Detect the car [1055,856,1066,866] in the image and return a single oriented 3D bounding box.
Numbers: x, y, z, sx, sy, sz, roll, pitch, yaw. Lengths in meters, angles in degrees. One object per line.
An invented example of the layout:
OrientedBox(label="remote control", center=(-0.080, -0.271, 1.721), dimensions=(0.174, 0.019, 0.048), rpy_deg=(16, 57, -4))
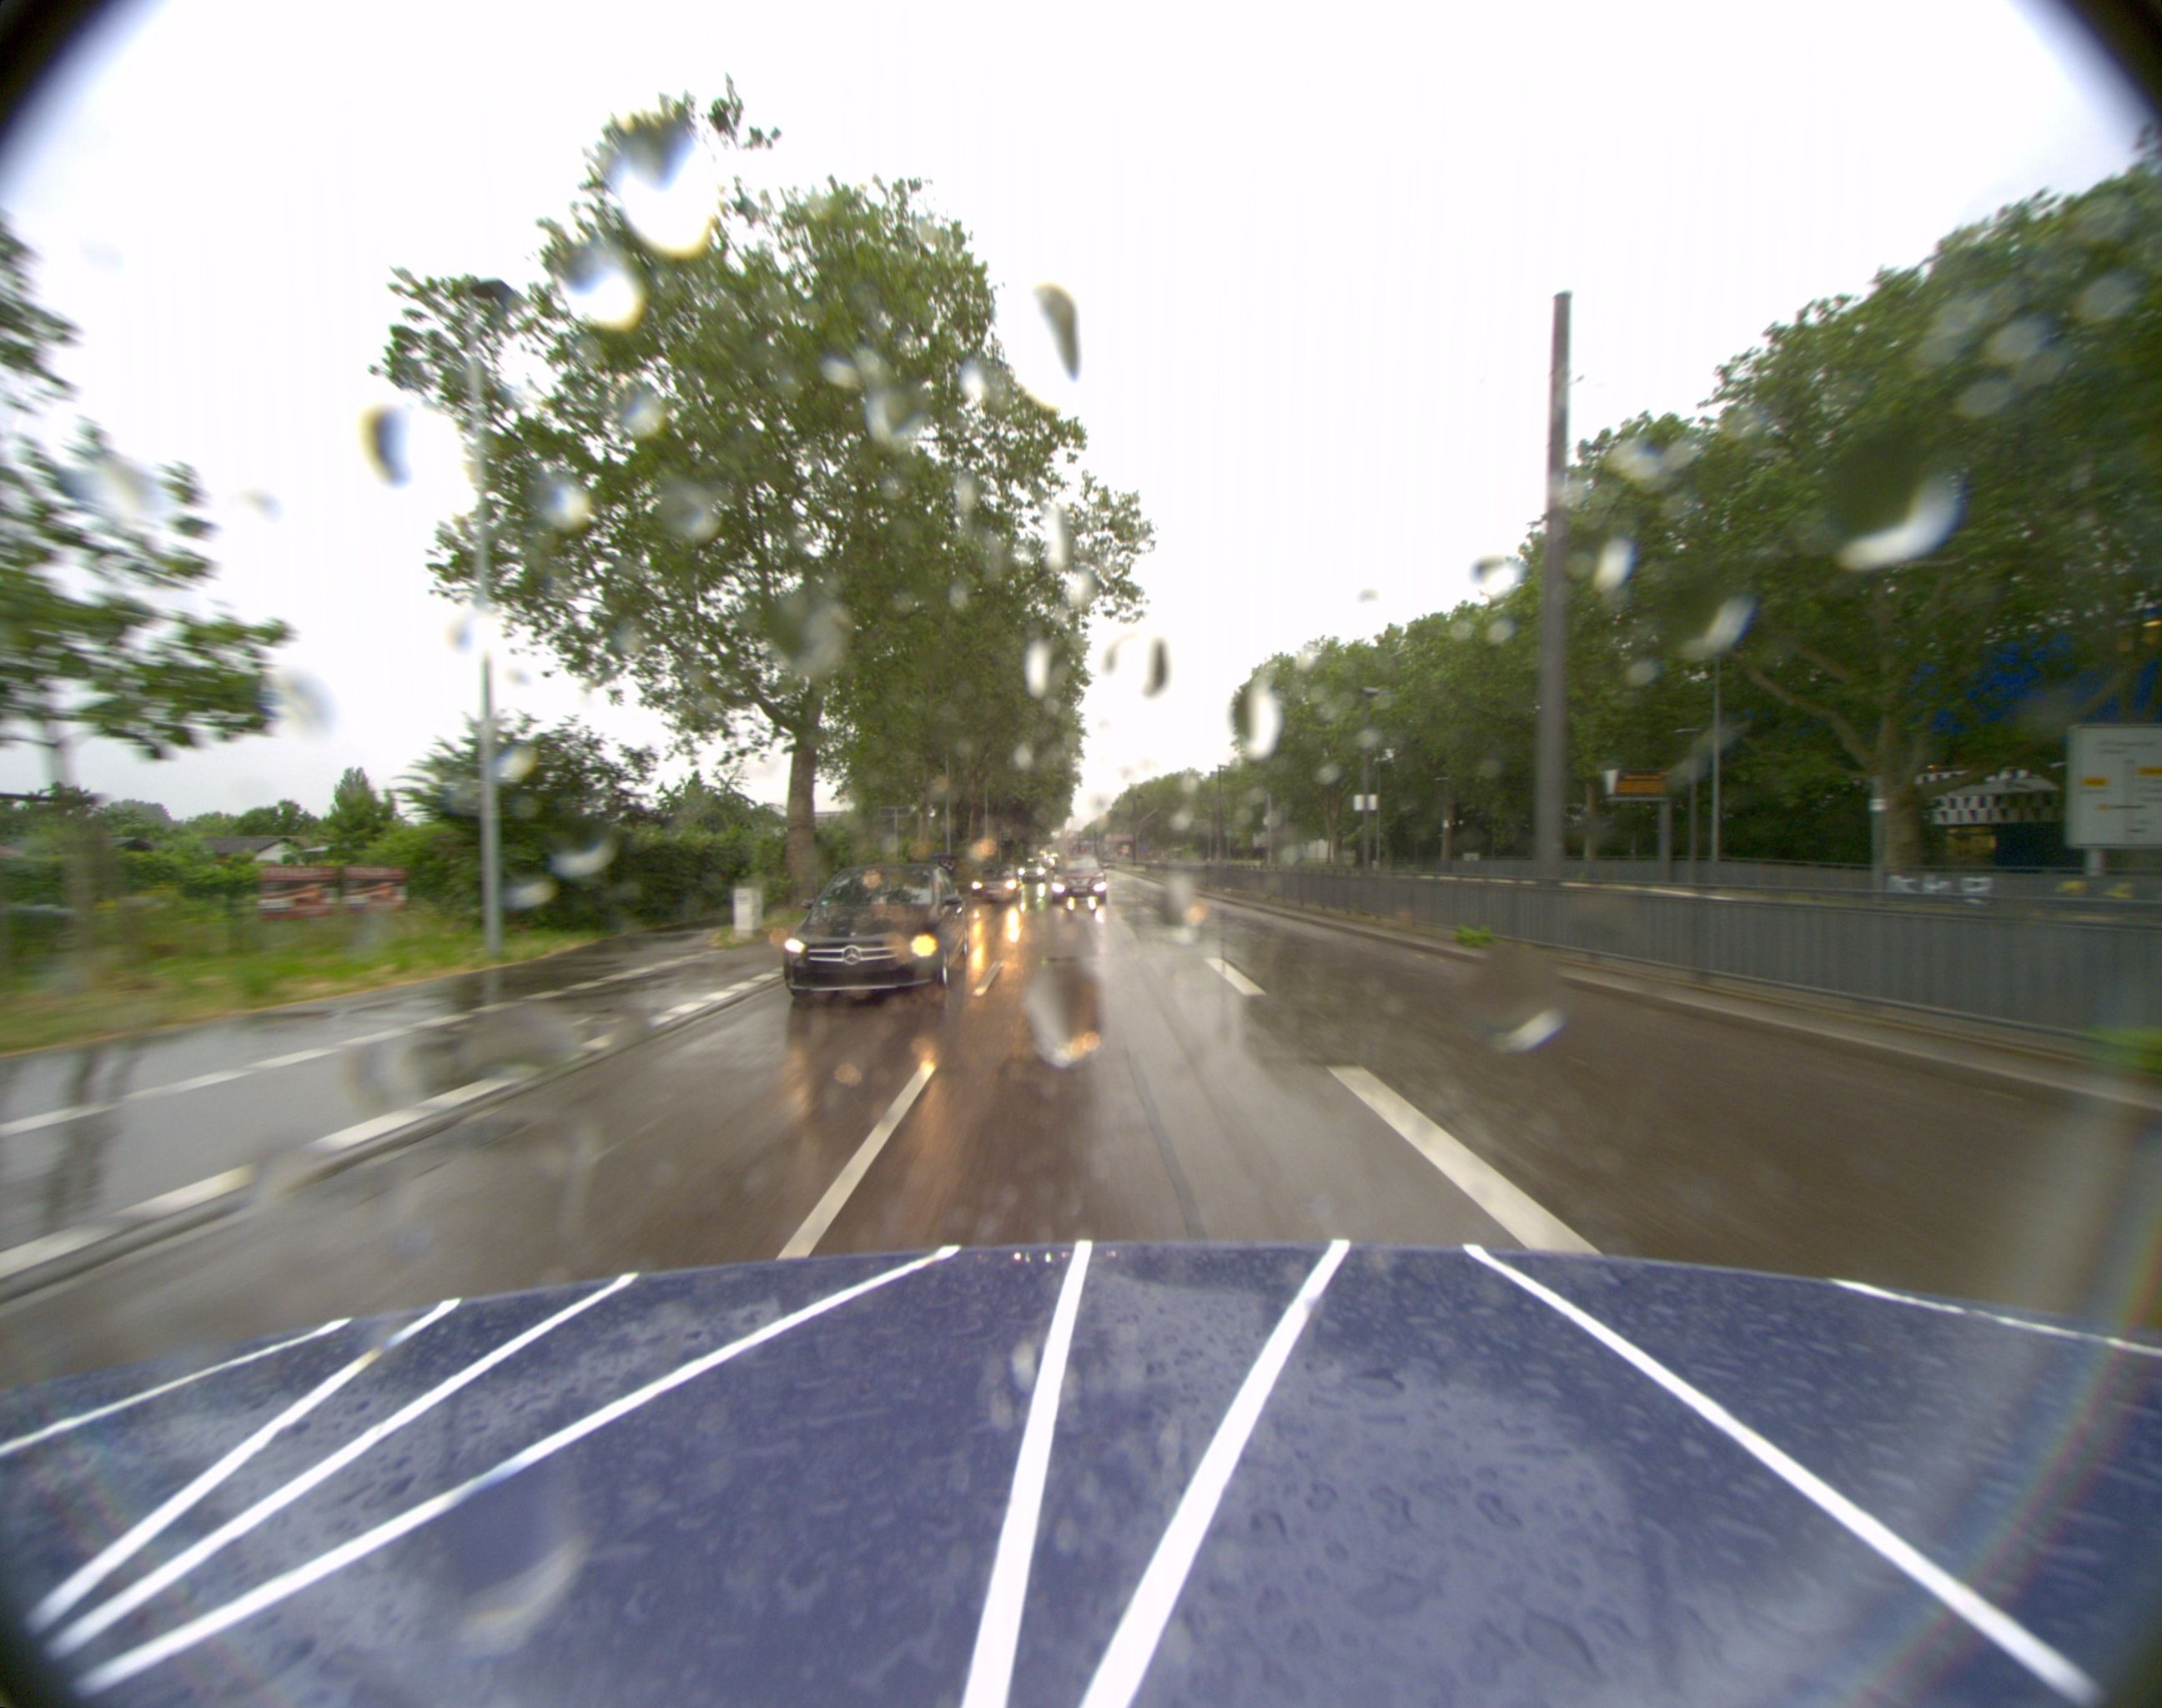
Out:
OrientedBox(label="car", center=(-4.151, 1.418, 157.036), dimensions=(1.998, 2.002, 4.000), rpy_deg=(-2, 1, 2))

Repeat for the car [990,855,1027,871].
OrientedBox(label="car", center=(-6.969, 0.898, 73.512), dimensions=(3.389, 1.488, 1.658), rpy_deg=(-1, -1, -2))

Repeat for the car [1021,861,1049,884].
OrientedBox(label="car", center=(-3.090, 1.218, 51.359), dimensions=(1.821, 1.520, 4.157), rpy_deg=(-1, 0, -3))

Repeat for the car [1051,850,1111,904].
OrientedBox(label="car", center=(-0.013, 0.801, 27.799), dimensions=(1.975, 1.794, 4.158), rpy_deg=(-1, 0, 0))

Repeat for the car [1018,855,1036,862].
OrientedBox(label="car", center=(-10.922, 0.926, 153.868), dimensions=(1.611, 1.423, 3.546), rpy_deg=(-3, 1, -44))

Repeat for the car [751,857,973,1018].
OrientedBox(label="car", center=(-2.524, 0.851, 9.928), dimensions=(1.822, 1.521, 4.420), rpy_deg=(-2, 1, -4))

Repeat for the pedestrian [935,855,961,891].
OrientedBox(label="pedestrian", center=(-6.050, 0.855, 34.614), dimensions=(0.949, 1.580, 1.293), rpy_deg=(0, 1, 0))

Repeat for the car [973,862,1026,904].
OrientedBox(label="car", center=(-3.083, 1.052, 29.337), dimensions=(1.641, 1.377, 3.781), rpy_deg=(-2, 1, -1))

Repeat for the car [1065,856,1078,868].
OrientedBox(label="car", center=(-1.666, 1.367, 130.310), dimensions=(1.998, 2.002, 4.000), rpy_deg=(-2, 1, 2))

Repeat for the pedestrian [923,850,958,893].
OrientedBox(label="pedestrian", center=(-5.979, 0.751, 32.482), dimensions=(1.243, 1.775, 1.147), rpy_deg=(1, 1, 0))

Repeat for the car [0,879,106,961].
OrientedBox(label="car", center=(-22.237, 1.322, 14.511), dimensions=(1.998, 1.607, 4.003), rpy_deg=(-2, -2, 3))

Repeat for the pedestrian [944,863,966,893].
OrientedBox(label="pedestrian", center=(-6.167, 1.157, 37.162), dimensions=(0.894, 1.382, 1.016), rpy_deg=(1, 1, 0))

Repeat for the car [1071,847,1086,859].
OrientedBox(label="car", center=(-0.414, -0.168, 108.344), dimensions=(1.870, 1.689, 4.424), rpy_deg=(-1, 0, -3))

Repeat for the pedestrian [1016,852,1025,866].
OrientedBox(label="pedestrian", center=(-7.448, 0.597, 93.954), dimensions=(0.969, 1.693, 1.140), rpy_deg=(-2, 2, -1))
